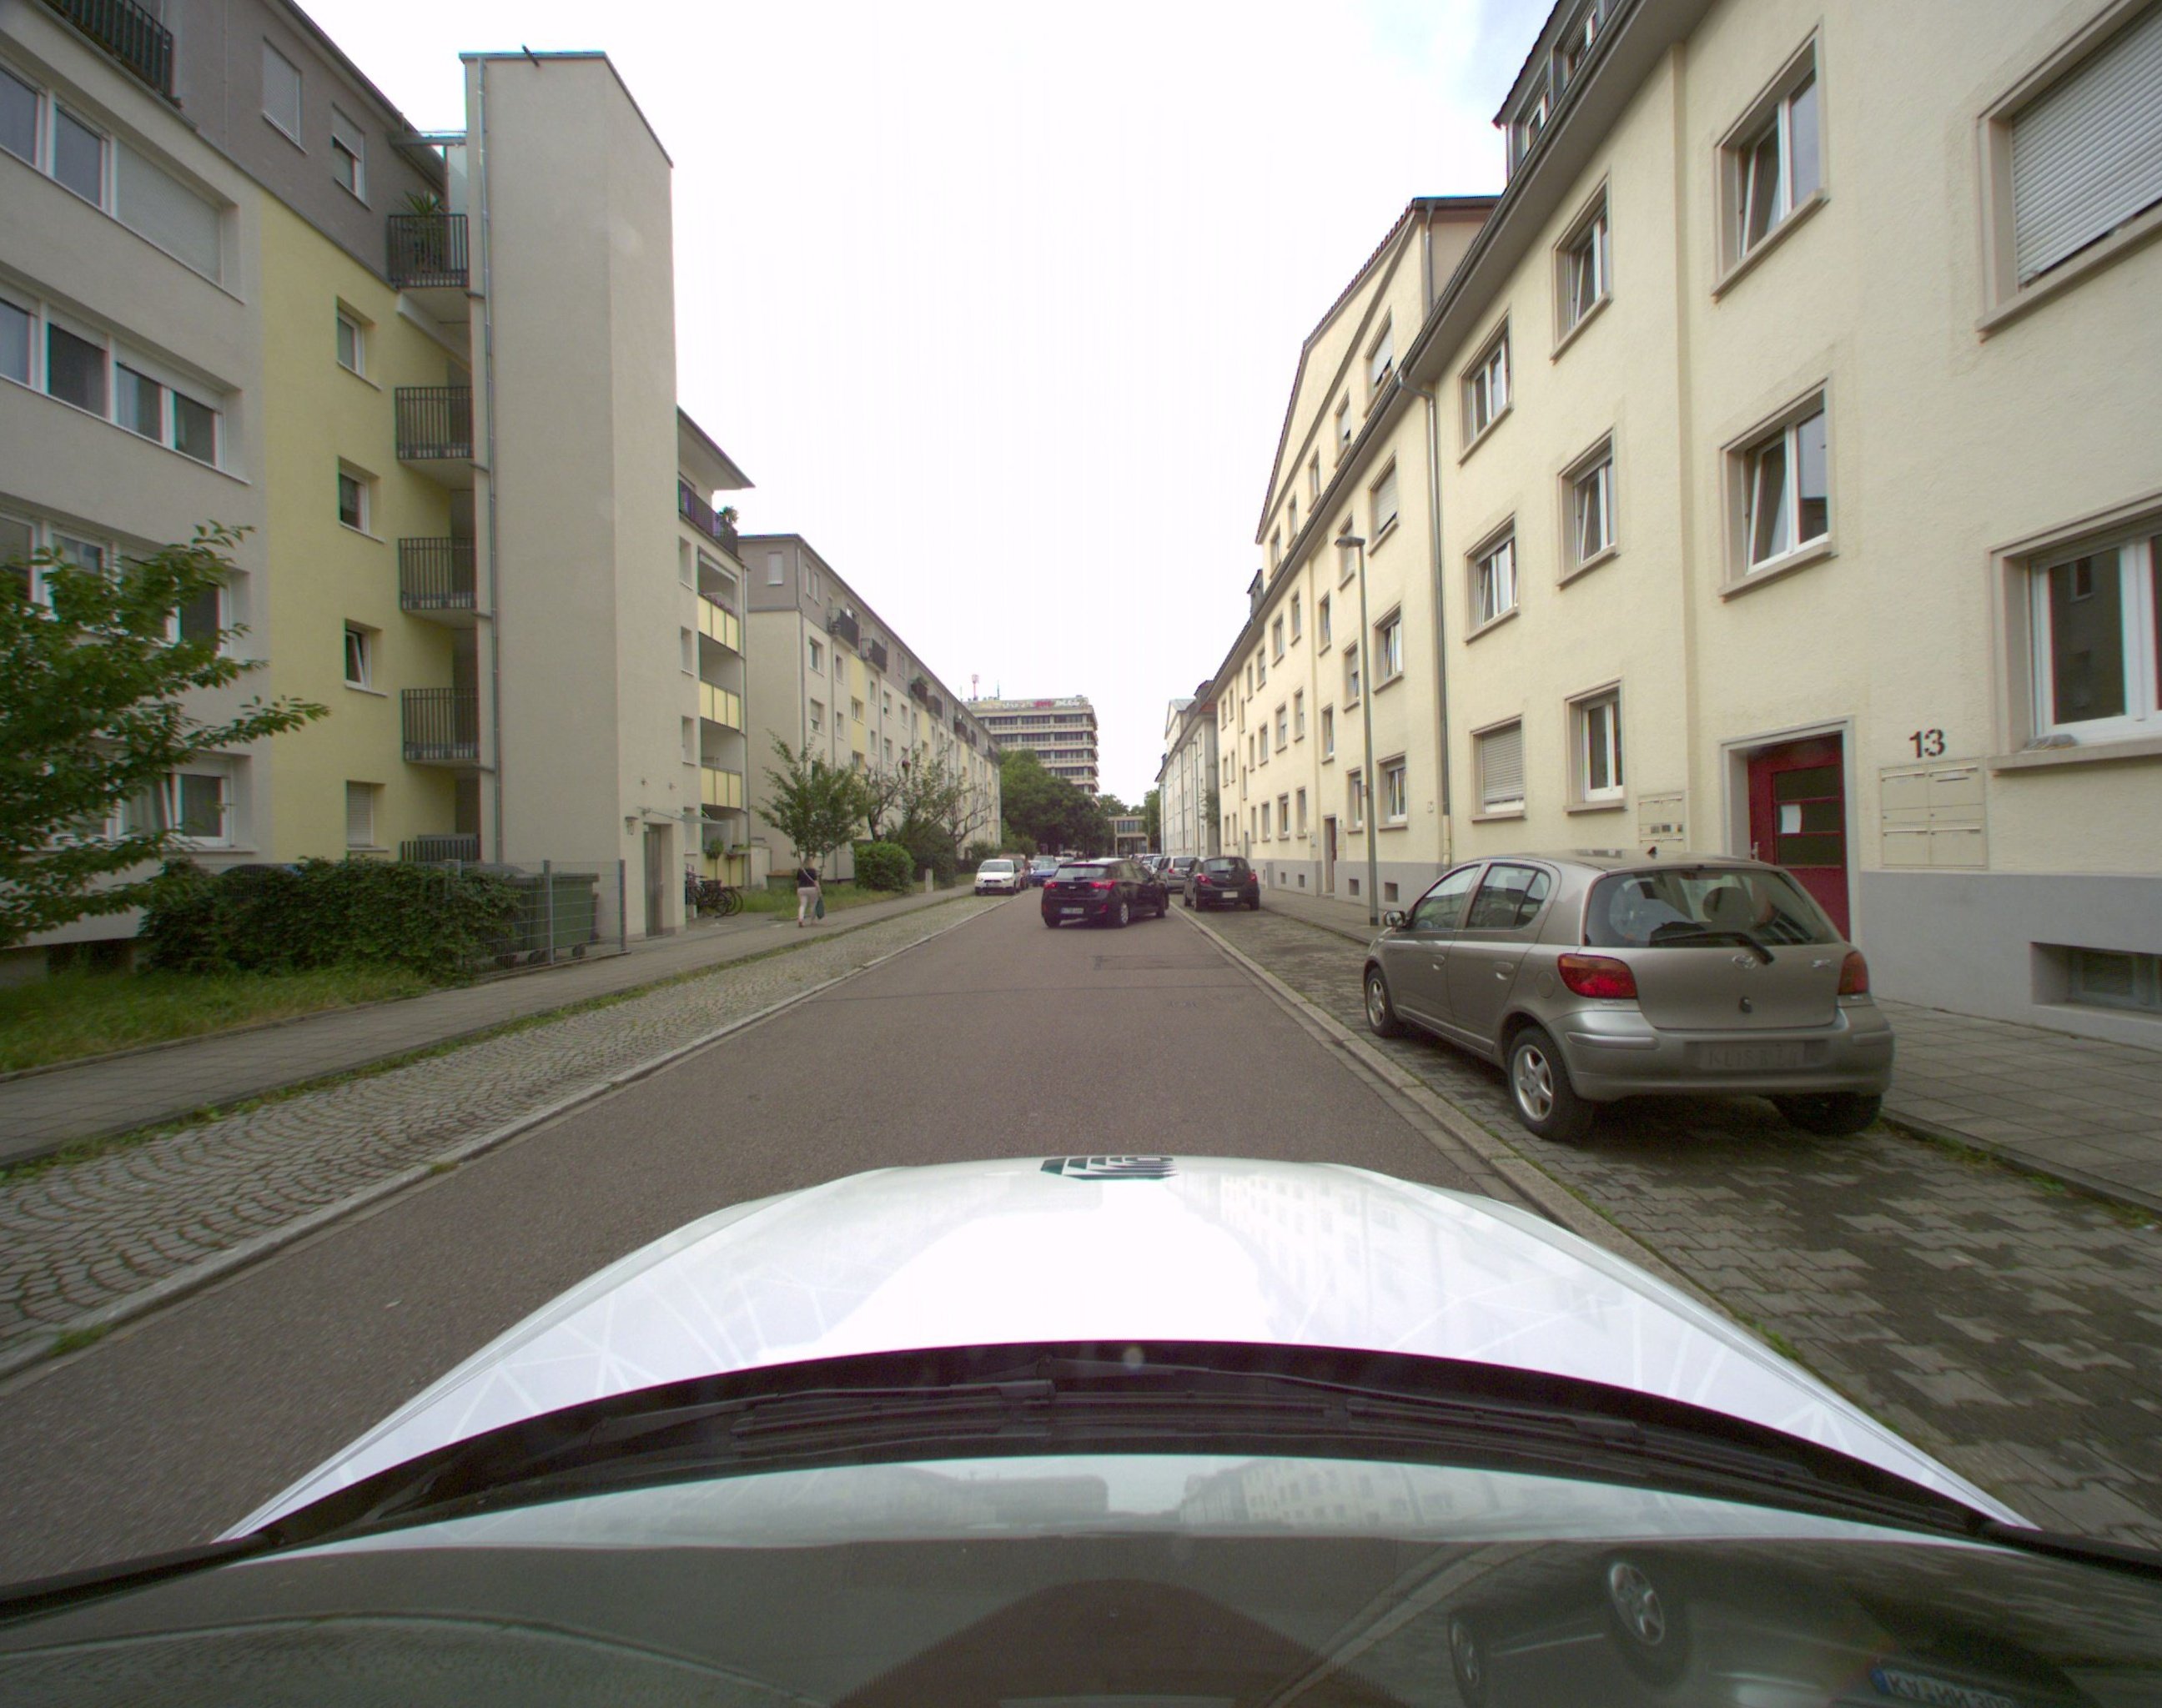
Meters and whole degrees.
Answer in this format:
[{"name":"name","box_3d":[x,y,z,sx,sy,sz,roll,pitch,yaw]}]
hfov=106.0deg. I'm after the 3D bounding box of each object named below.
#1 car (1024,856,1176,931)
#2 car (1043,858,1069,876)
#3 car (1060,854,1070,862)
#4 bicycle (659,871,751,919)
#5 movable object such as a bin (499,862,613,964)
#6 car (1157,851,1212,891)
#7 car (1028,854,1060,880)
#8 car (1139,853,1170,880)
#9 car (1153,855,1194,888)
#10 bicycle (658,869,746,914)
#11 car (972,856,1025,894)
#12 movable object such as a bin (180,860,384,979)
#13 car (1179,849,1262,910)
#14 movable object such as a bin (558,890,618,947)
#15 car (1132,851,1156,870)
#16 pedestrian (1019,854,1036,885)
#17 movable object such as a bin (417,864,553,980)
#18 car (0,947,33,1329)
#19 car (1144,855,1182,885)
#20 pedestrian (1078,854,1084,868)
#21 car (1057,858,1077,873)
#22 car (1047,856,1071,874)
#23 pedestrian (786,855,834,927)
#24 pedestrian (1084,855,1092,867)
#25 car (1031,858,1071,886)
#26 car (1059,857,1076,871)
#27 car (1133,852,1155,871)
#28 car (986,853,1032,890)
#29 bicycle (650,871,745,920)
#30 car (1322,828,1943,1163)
[{"name":"car","box_3d":[0.575,0.817,18.429,1.886,1.433,4.257,-2,0,24]},{"name":"car","box_3d":[-2.114,1.060,69.832,1.888,1.452,4.523,1,0,2]},{"name":"car","box_3d":[-3.016,0.737,154.938,1.659,1.333,3.397,-1,0,2]},{"name":"bicycle","box_3d":[-9.611,1.049,20.879,2.021,1.141,0.621,-1,0,-8]},{"name":"movable object such as a bin","box_3d":[-7.782,0.837,12.138,0.799,1.429,1.290,0,0,5]},{"name":"car","box_3d":[4.128,0.655,33.019,1.841,1.450,3.835,-2,0,2]},{"name":"car","box_3d":[-2.593,0.909,58.367,1.888,1.740,4.476,1,0,2]},{"name":"car","box_3d":[4.681,0.777,52.315,1.813,1.642,4.094,-1,0,3]},{"name":"car","box_3d":[4.287,0.792,38.143,1.596,1.476,3.871,0,0,2]},{"name":"bicycle","box_3d":[-10.106,0.989,21.765,2.017,1.141,0.623,-1,0,-2]},{"name":"car","box_3d":[-3.508,0.862,35.249,1.714,1.570,3.872,0,0,2]},{"name":"movable object such as a bin","box_3d":[-10.572,0.824,10.864,1.347,1.464,1.372,0,0,0]},{"name":"car","box_3d":[3.798,0.651,22.795,1.718,1.517,4.062,-2,0,2]},{"name":"movable object such as a bin","box_3d":[-8.795,1.143,14.542,0.633,0.965,0.652,-1,0,2]},{"name":"car","box_3d":[5.259,0.500,68.442,1.813,1.503,4.094,-2,0,3]},{"name":"pedestrian","box_3d":[-3.044,0.889,46.317,0.742,1.701,0.792,-2,-1,-16]},{"name":"movable object such as a bin","box_3d":[-7.871,0.858,10.817,0.800,1.429,1.289,0,0,4]},{"name":"car","box_3d":[-4.736,0.986,0.740,1.863,1.323,4.362,0,0,1]},{"name":"car","box_3d":[4.314,0.804,43.160,1.718,1.476,4.507,-1,0,2]},{"name":"pedestrian","box_3d":[0.036,0.939,111.848,0.710,1.831,0.798,-1,0,4]},{"name":"car","box_3d":[-1.445,1.161,84.324,1.987,1.541,3.999,0,0,0]},{"name":"car","box_3d":[-2.045,1.027,76.006,1.888,1.599,4.523,1,0,2]},{"name":"pedestrian","box_3d":[-6.251,0.834,18.833,0.797,1.610,0.946,-1,-1,-3]},{"name":"pedestrian","box_3d":[1.001,0.988,111.756,0.967,1.654,0.982,-2,0,6]},{"name":"car","box_3d":[-1.653,0.977,46.256,1.837,1.451,4.505,-1,0,3]},{"name":"car","box_3d":[-1.604,1.178,96.637,1.987,1.541,3.999,0,0,0]},{"name":"car","box_3d":[5.639,0.686,73.296,1.813,1.603,4.094,-1,0,3]},{"name":"car","box_3d":[-3.583,0.860,41.173,1.950,1.770,4.360,0,0,0]},{"name":"bicycle","box_3d":[-9.510,1.019,20.254,2.021,1.141,0.621,-1,0,-8]},{"name":"car","box_3d":[3.193,0.669,5.855,1.719,1.517,4.061,-2,0,1]}]
